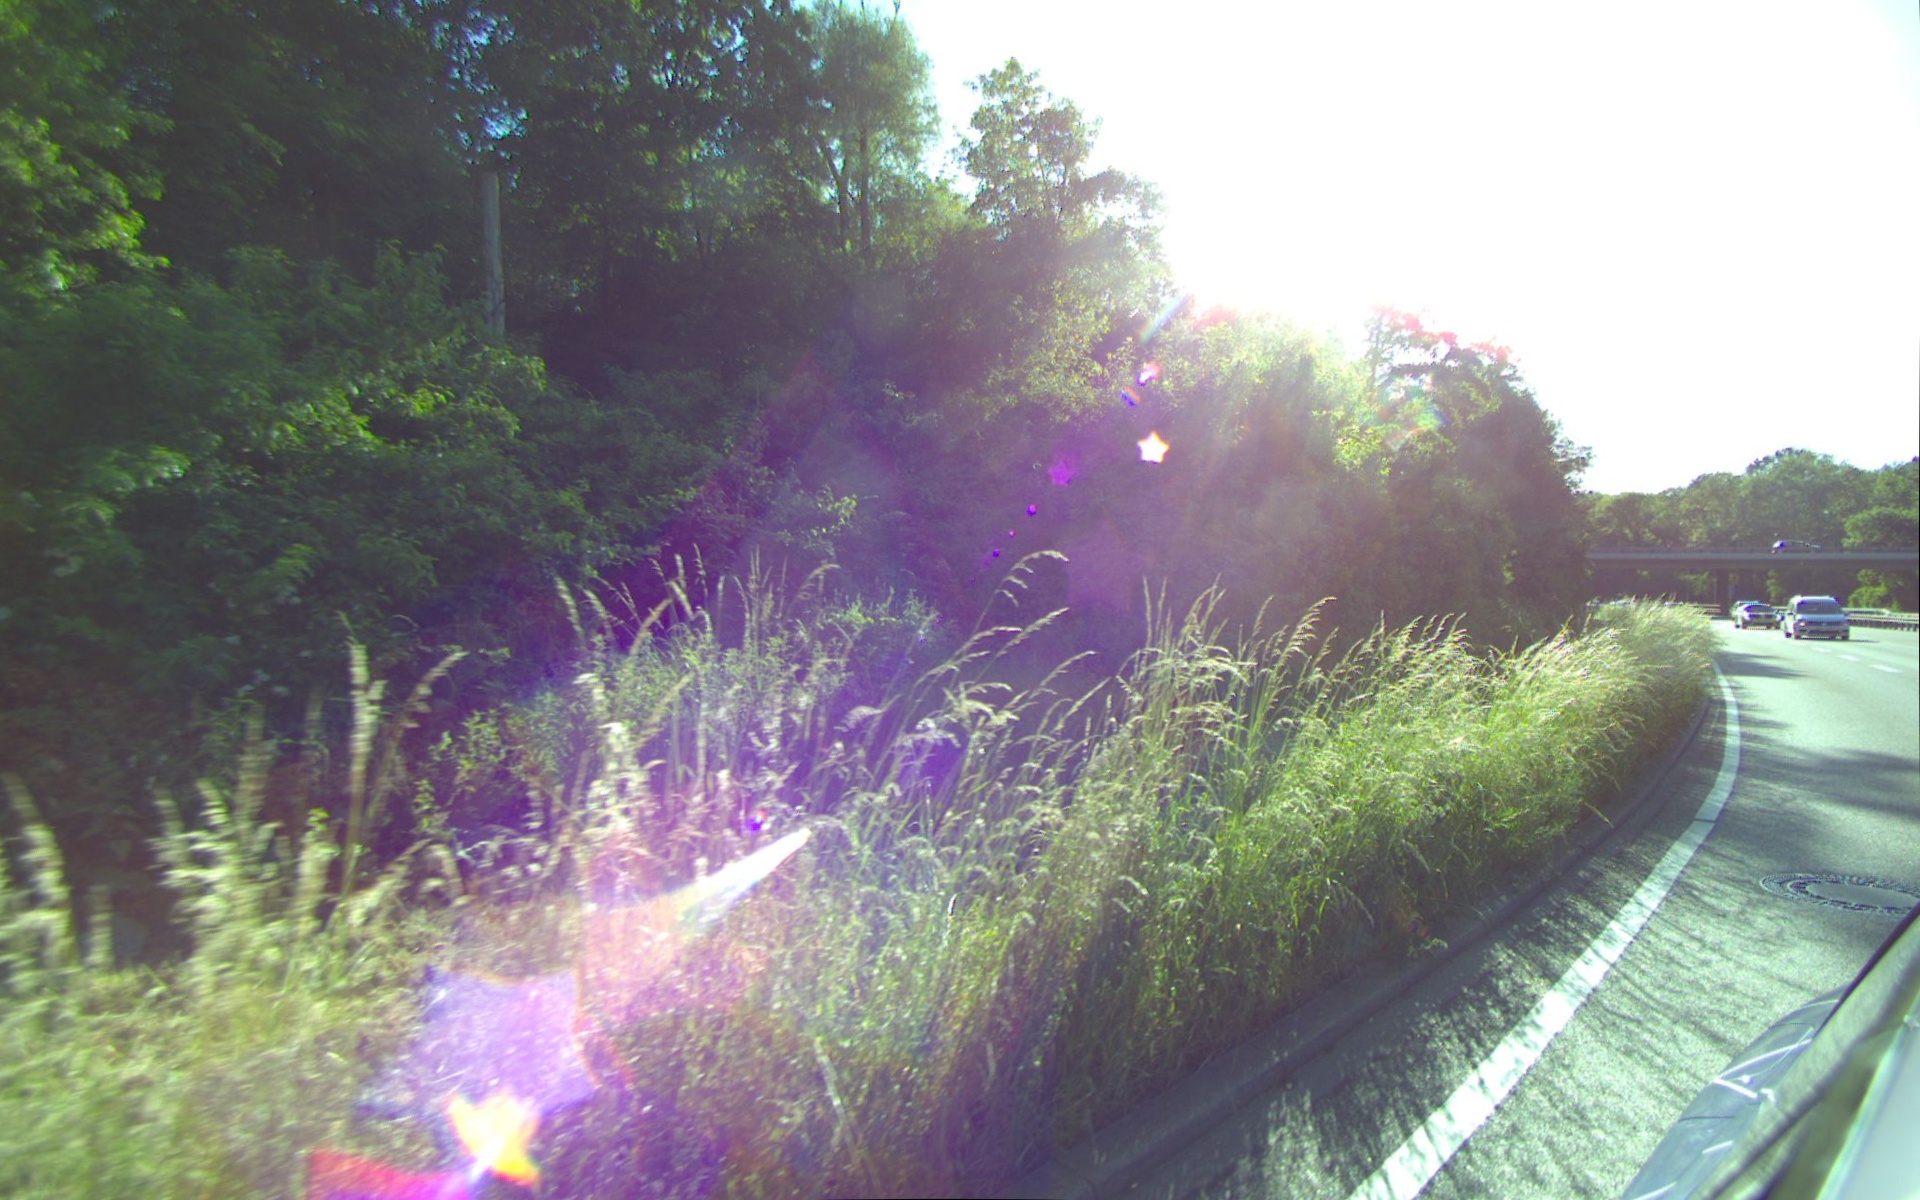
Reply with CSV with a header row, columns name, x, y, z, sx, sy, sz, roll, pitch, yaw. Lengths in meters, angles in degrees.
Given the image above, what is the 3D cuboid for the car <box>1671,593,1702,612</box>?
name,x,y,z,sx,sy,sz,roll,pitch,yaw
car,64.066,0.225,89.291,1.921,1.526,5.027,1,2,33

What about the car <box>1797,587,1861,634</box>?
name,x,y,z,sx,sy,sz,roll,pitch,yaw
car,36.773,0.392,42.911,1.791,1.829,4.768,0,1,38

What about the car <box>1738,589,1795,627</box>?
name,x,y,z,sx,sy,sz,roll,pitch,yaw
car,48.031,0.423,60.390,2.243,1.875,5.082,0,3,34
